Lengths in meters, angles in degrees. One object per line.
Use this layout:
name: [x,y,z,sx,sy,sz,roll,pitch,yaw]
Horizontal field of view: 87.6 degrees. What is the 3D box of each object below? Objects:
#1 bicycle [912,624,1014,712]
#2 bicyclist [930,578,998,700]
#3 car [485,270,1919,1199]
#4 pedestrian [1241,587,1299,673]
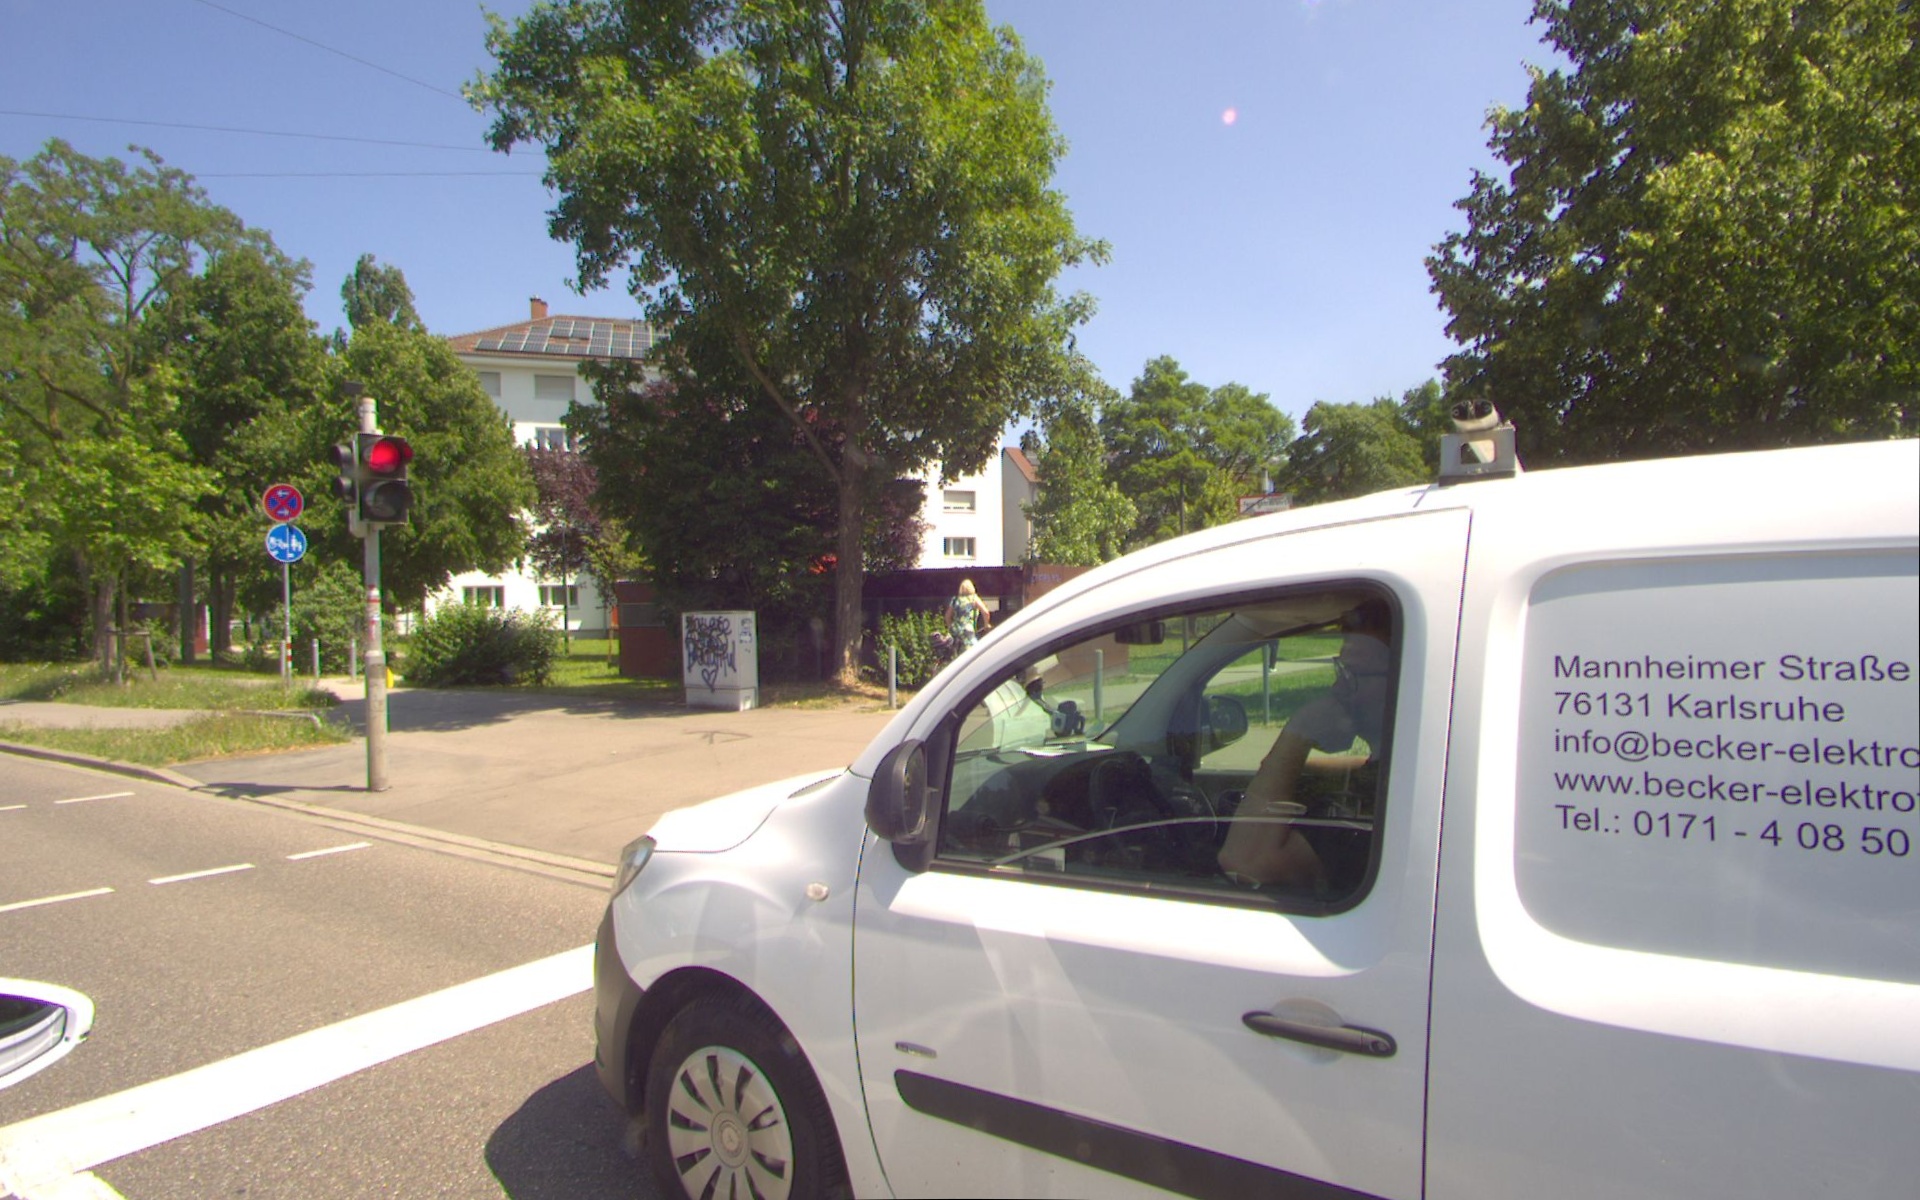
bicycle: [0.078,0.947,14.496,0.533,1.176,1.954,0,-1,32]
bicyclist: [0.068,0.553,14.506,0.572,1.689,0.955,0,0,32]
car: [1.127,0.566,2.304,4.384,1.850,1.990,-1,0,32]
pedestrian: [6.753,0.636,21.778,0.829,1.801,1.180,-2,1,36]
